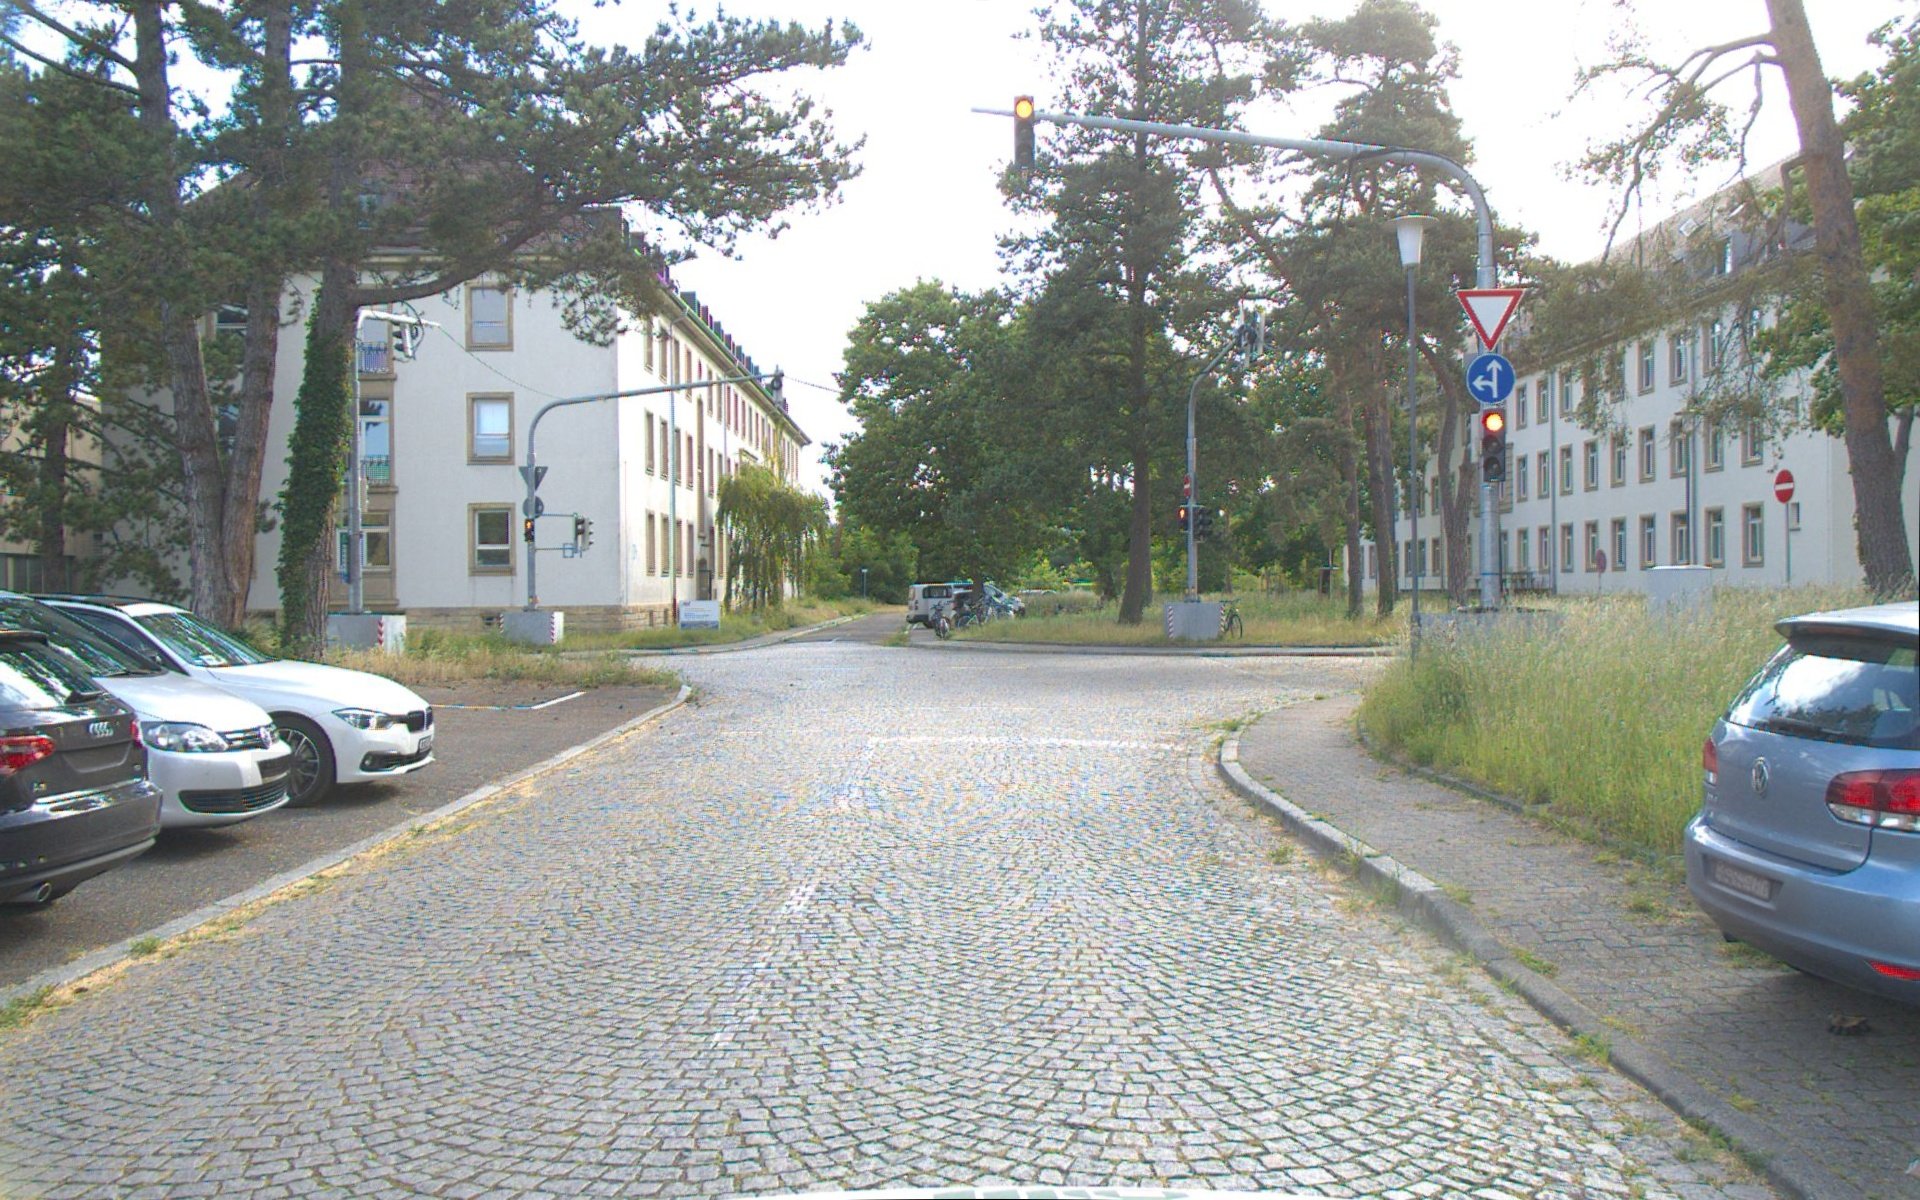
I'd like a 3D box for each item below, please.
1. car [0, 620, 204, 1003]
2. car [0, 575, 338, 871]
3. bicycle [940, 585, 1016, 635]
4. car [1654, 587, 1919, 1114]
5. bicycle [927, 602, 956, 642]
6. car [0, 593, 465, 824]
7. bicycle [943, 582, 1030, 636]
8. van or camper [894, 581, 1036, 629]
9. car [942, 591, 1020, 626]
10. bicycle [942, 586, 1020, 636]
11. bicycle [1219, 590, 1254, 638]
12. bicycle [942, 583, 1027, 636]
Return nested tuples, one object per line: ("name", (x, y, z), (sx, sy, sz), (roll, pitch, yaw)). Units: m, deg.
("car", (-5.613, 0.793, 7.263), (3.758, 1.433, 1.695), (2, 0, -1))
("car", (-6.038, 0.669, 10.154), (3.755, 1.635, 1.734), (1, 0, -3))
("bicycle", (0.662, 0.362, 60.754), (2.718, 1.723, 1.120), (1, 0, 1))
("car", (4.601, 0.680, 5.640), (3.764, 1.496, 1.641), (-1, 0, -1))
("bicycle", (-0.560, 0.664, 50.363), (0.711, 1.127, 2.462), (-5, 0, 1))
("car", (-6.240, 0.754, 12.553), (4.390, 1.467, 1.829), (3, 0, -4))
("bicycle", (0.866, 0.276, 54.658), (2.722, 1.723, 1.119), (-1, 0, -6))
("van or camper", (0.210, 0.219, 72.621), (5.930, 1.983, 1.993), (-1, 0, -14))
("car", (0.853, 0.348, 69.051), (3.077, 1.378, 1.618), (-1, 0, -6))
("bicycle", (0.754, 0.382, 59.417), (2.717, 1.723, 1.121), (1, 0, 3))
("bicycle", (7.172, 0.351, 42.924), (0.708, 1.189, 2.739), (1, 0, 6))
("bicycle", (0.832, 0.298, 55.852), (2.723, 1.723, 1.118), (-1, 0, -8))
